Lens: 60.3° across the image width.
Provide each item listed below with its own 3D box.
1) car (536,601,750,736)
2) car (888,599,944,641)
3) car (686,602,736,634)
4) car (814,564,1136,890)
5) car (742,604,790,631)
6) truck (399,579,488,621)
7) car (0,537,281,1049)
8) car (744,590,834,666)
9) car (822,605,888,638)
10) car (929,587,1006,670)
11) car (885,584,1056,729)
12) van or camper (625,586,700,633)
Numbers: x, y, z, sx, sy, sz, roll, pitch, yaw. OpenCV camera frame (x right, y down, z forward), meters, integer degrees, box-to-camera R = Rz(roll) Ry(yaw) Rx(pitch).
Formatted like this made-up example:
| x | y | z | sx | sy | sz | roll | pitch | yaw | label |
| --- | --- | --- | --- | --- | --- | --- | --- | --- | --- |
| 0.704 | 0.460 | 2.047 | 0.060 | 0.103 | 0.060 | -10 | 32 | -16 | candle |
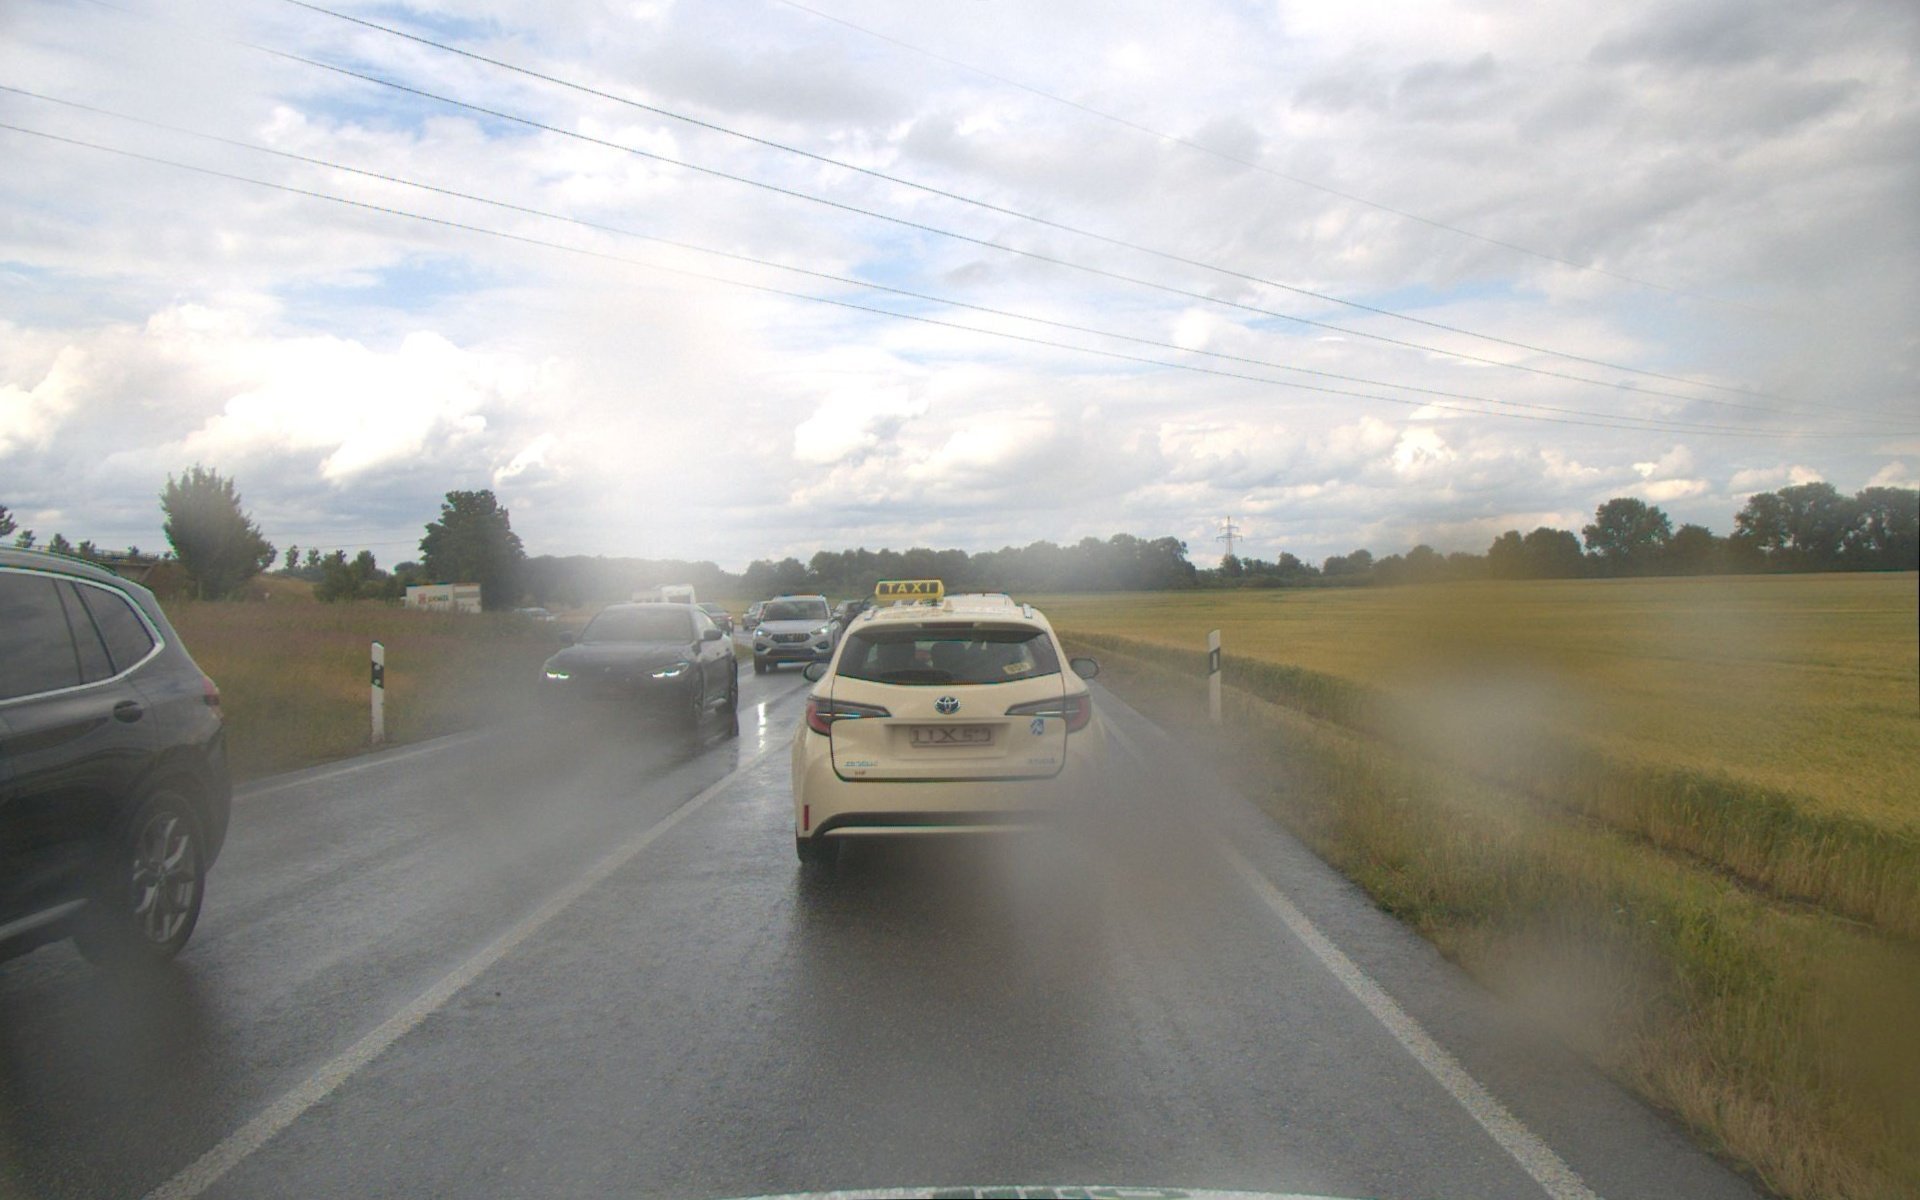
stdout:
| x | y | z | sx | sy | sz | roll | pitch | yaw | label |
| --- | --- | --- | --- | --- | --- | --- | --- | --- | --- |
| -3.789 | 0.769 | 20.478 | 1.811 | 1.473 | 4.091 | -1 | 0 | 1 | car |
| -1.662 | 0.764 | 61.576 | 1.583 | 1.438 | 3.730 | 2 | -2 | -9 | car |
| -13.334 | 0.976 | 88.346 | 1.733 | 1.586 | 3.972 | 2 | -2 | -23 | car |
| 0.166 | 0.683 | 10.181 | 1.579 | 1.590 | 3.739 | 1 | -2 | 3 | car |
| -10.864 | 0.984 | 92.568 | 1.758 | 1.438 | 3.714 | 2 | -2 | -21 | car |
| -42.081 | -0.001 | 134.579 | 8.080 | 3.266 | 3.007 | 0 | -2 | 40 | truck |
| -4.022 | 0.626 | 5.277 | 1.811 | 1.660 | 4.534 | 0 | 0 | 0 | car |
| -3.880 | 0.617 | 38.178 | 1.871 | 1.637 | 4.088 | -1 | 0 | -3 | car |
| -4.940 | 1.003 | 77.332 | 1.930 | 1.438 | 4.367 | 2 | -2 | -19 | car |
| 0.199 | 0.645 | 36.359 | 1.579 | 1.688 | 3.738 | 1 | -2 | 1 | car |
| 0.073 | 0.620 | 20.092 | 1.804 | 1.518 | 4.607 | 2 | 0 | -1 | car |
| -19.539 | 0.581 | 108.340 | 2.512 | 2.946 | 6.668 | 2 | 0 | -32 | van or camper |
